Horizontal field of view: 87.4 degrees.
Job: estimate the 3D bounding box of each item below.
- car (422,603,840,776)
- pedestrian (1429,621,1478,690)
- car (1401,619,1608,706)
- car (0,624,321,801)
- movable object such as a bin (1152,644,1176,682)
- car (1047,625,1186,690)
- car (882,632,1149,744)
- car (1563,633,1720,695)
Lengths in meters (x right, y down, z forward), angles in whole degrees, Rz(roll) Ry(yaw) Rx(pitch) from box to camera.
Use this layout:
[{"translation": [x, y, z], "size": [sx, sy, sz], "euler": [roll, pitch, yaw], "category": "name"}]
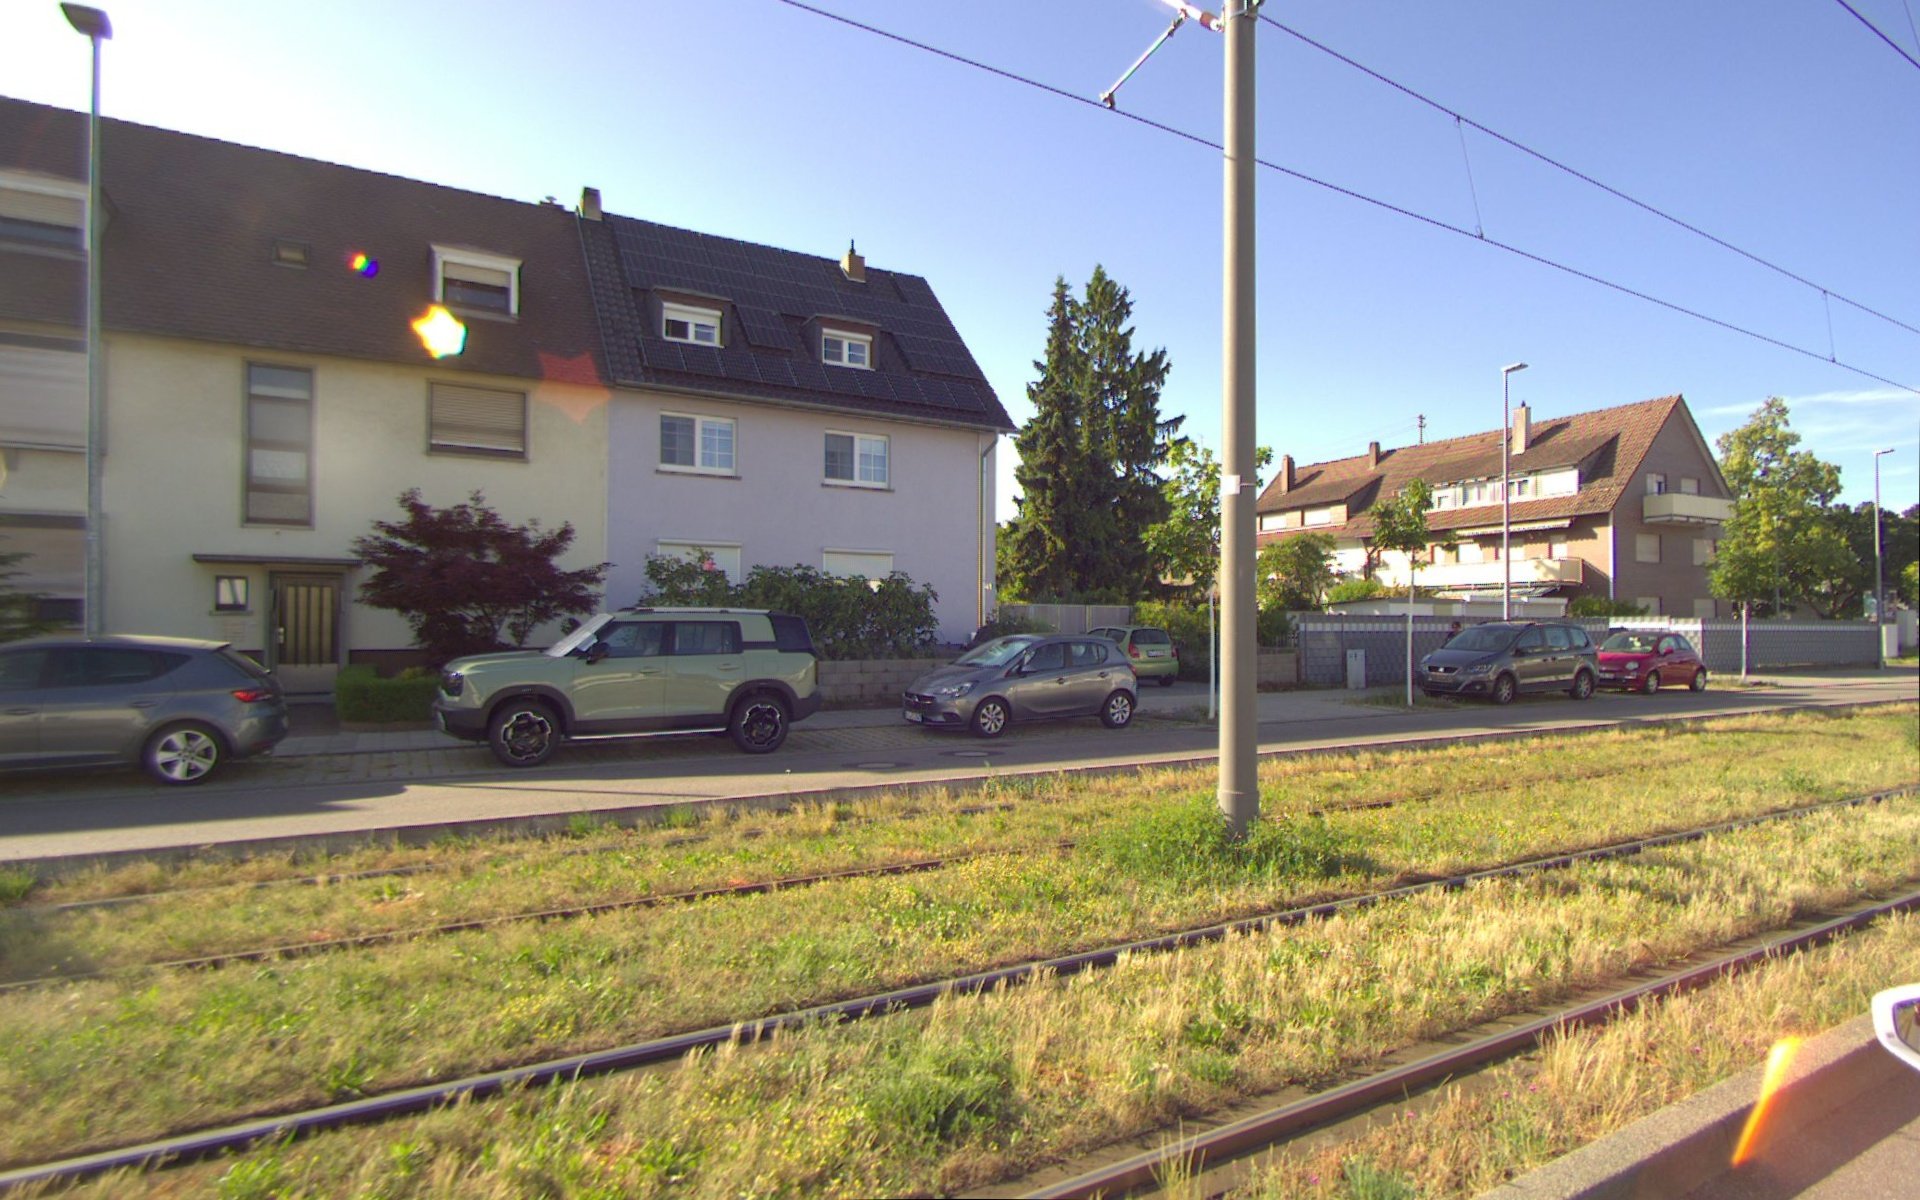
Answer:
[{"translation": [-4.074, 0.996, 12.727], "size": [4.784, 1.847, 1.737], "euler": [1, 0, -30], "category": "car"}, {"translation": [12.112, 1.346, 24.654], "size": [0.910, 1.662, 0.692], "euler": [1, 0, -32], "category": "pedestrian"}, {"translation": [12.109, 1.316, 22.270], "size": [4.788, 1.707, 1.811], "euler": [1, 0, -30], "category": "car"}, {"translation": [-9.080, 1.040, 9.966], "size": [4.504, 1.561, 1.951], "euler": [1, -1, -31], "category": "car"}, {"translation": [5.487, 1.688, 27.026], "size": [0.293, 0.982, 0.589], "euler": [1, -2, -30], "category": "movable object such as a bin"}, {"translation": [3.867, 1.396, 25.366], "size": [1.684, 1.493, 3.598], "euler": [1, -2, -28], "category": "car"}, {"translation": [0.930, 1.290, 15.872], "size": [4.006, 1.510, 1.666], "euler": [1, 0, -33], "category": "car"}, {"translation": [17.233, 1.566, 25.370], "size": [4.030, 1.423, 1.688], "euler": [1, -2, -30], "category": "car"}]
